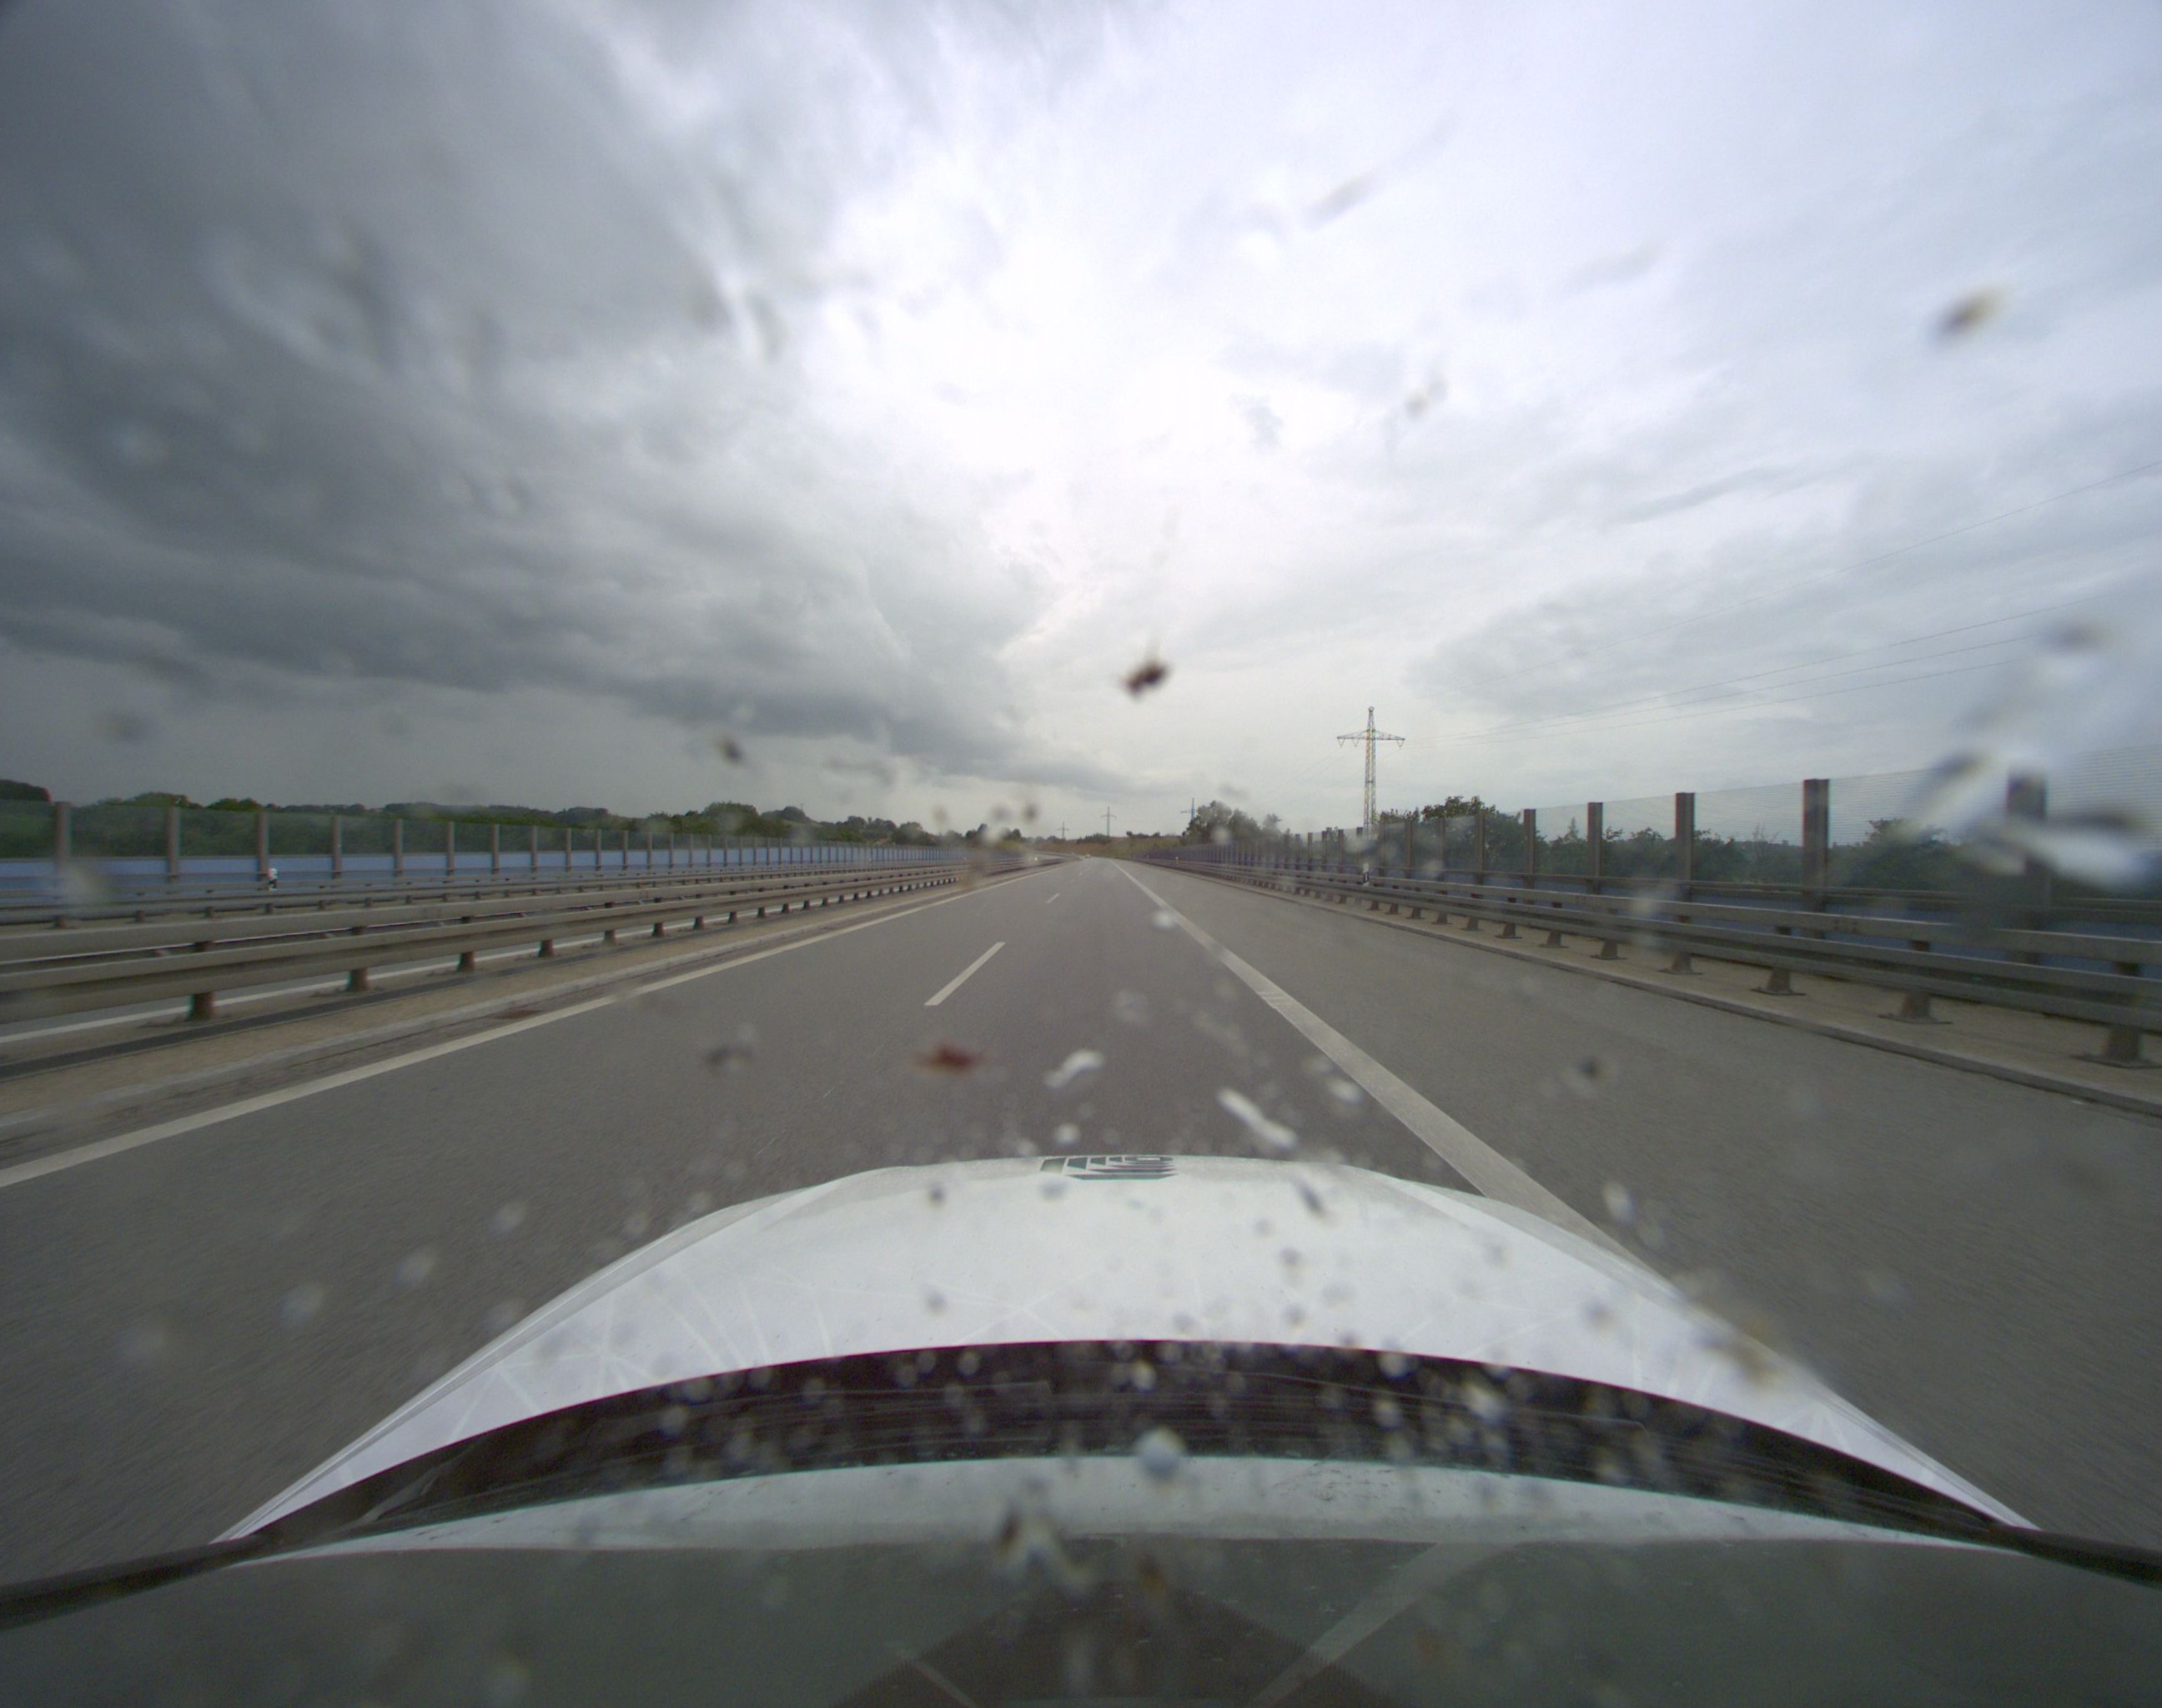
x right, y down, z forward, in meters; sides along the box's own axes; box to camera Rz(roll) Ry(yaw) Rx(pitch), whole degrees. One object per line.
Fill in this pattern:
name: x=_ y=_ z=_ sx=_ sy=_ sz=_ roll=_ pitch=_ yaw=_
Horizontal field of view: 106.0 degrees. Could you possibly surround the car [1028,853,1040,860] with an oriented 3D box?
car: x=-9.796 y=0.552 z=170.362 sx=1.986 sy=1.515 sz=4.289 roll=0 pitch=0 yaw=2
